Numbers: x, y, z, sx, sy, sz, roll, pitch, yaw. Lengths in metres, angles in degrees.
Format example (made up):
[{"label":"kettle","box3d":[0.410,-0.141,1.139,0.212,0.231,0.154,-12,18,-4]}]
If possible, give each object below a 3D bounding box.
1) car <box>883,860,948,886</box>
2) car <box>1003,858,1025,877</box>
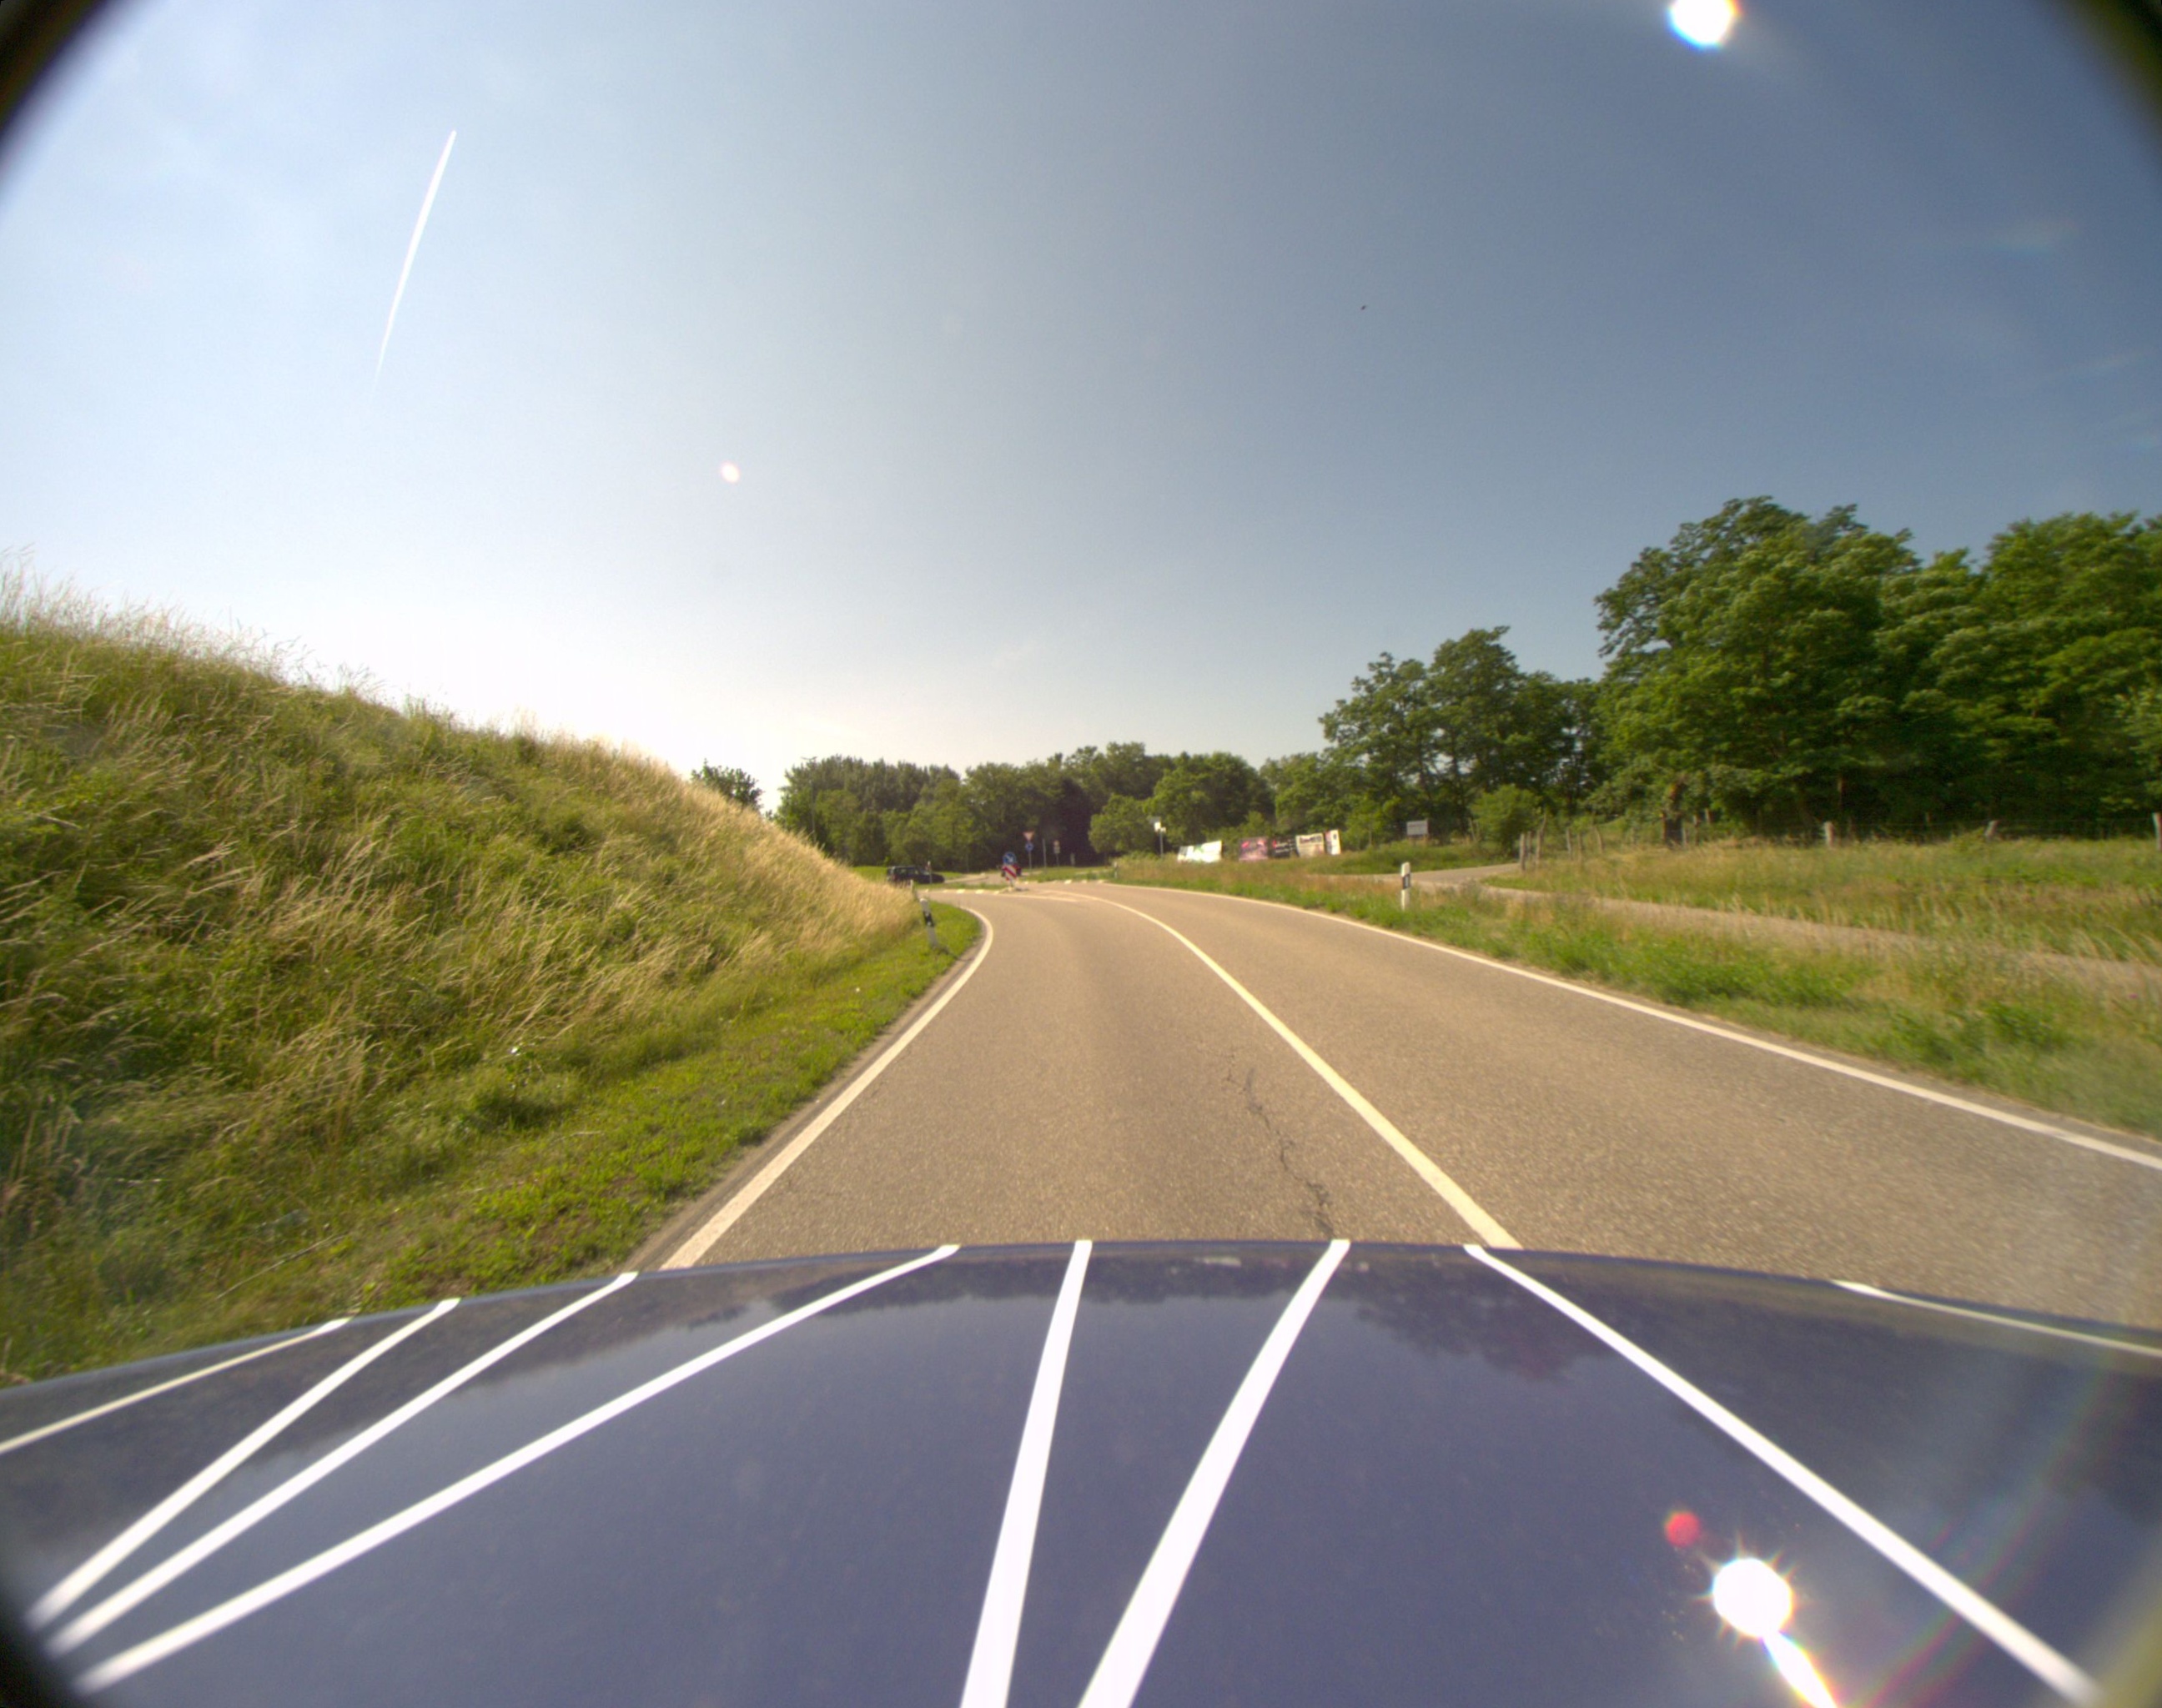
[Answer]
[{"label":"car","box3d":[-12.404,1.386,57.049,4.358,1.646,1.704,-4,1,-35]},{"label":"car","box3d":[-6.368,1.243,72.279,1.813,1.481,4.677,-3,1,-2]}]
